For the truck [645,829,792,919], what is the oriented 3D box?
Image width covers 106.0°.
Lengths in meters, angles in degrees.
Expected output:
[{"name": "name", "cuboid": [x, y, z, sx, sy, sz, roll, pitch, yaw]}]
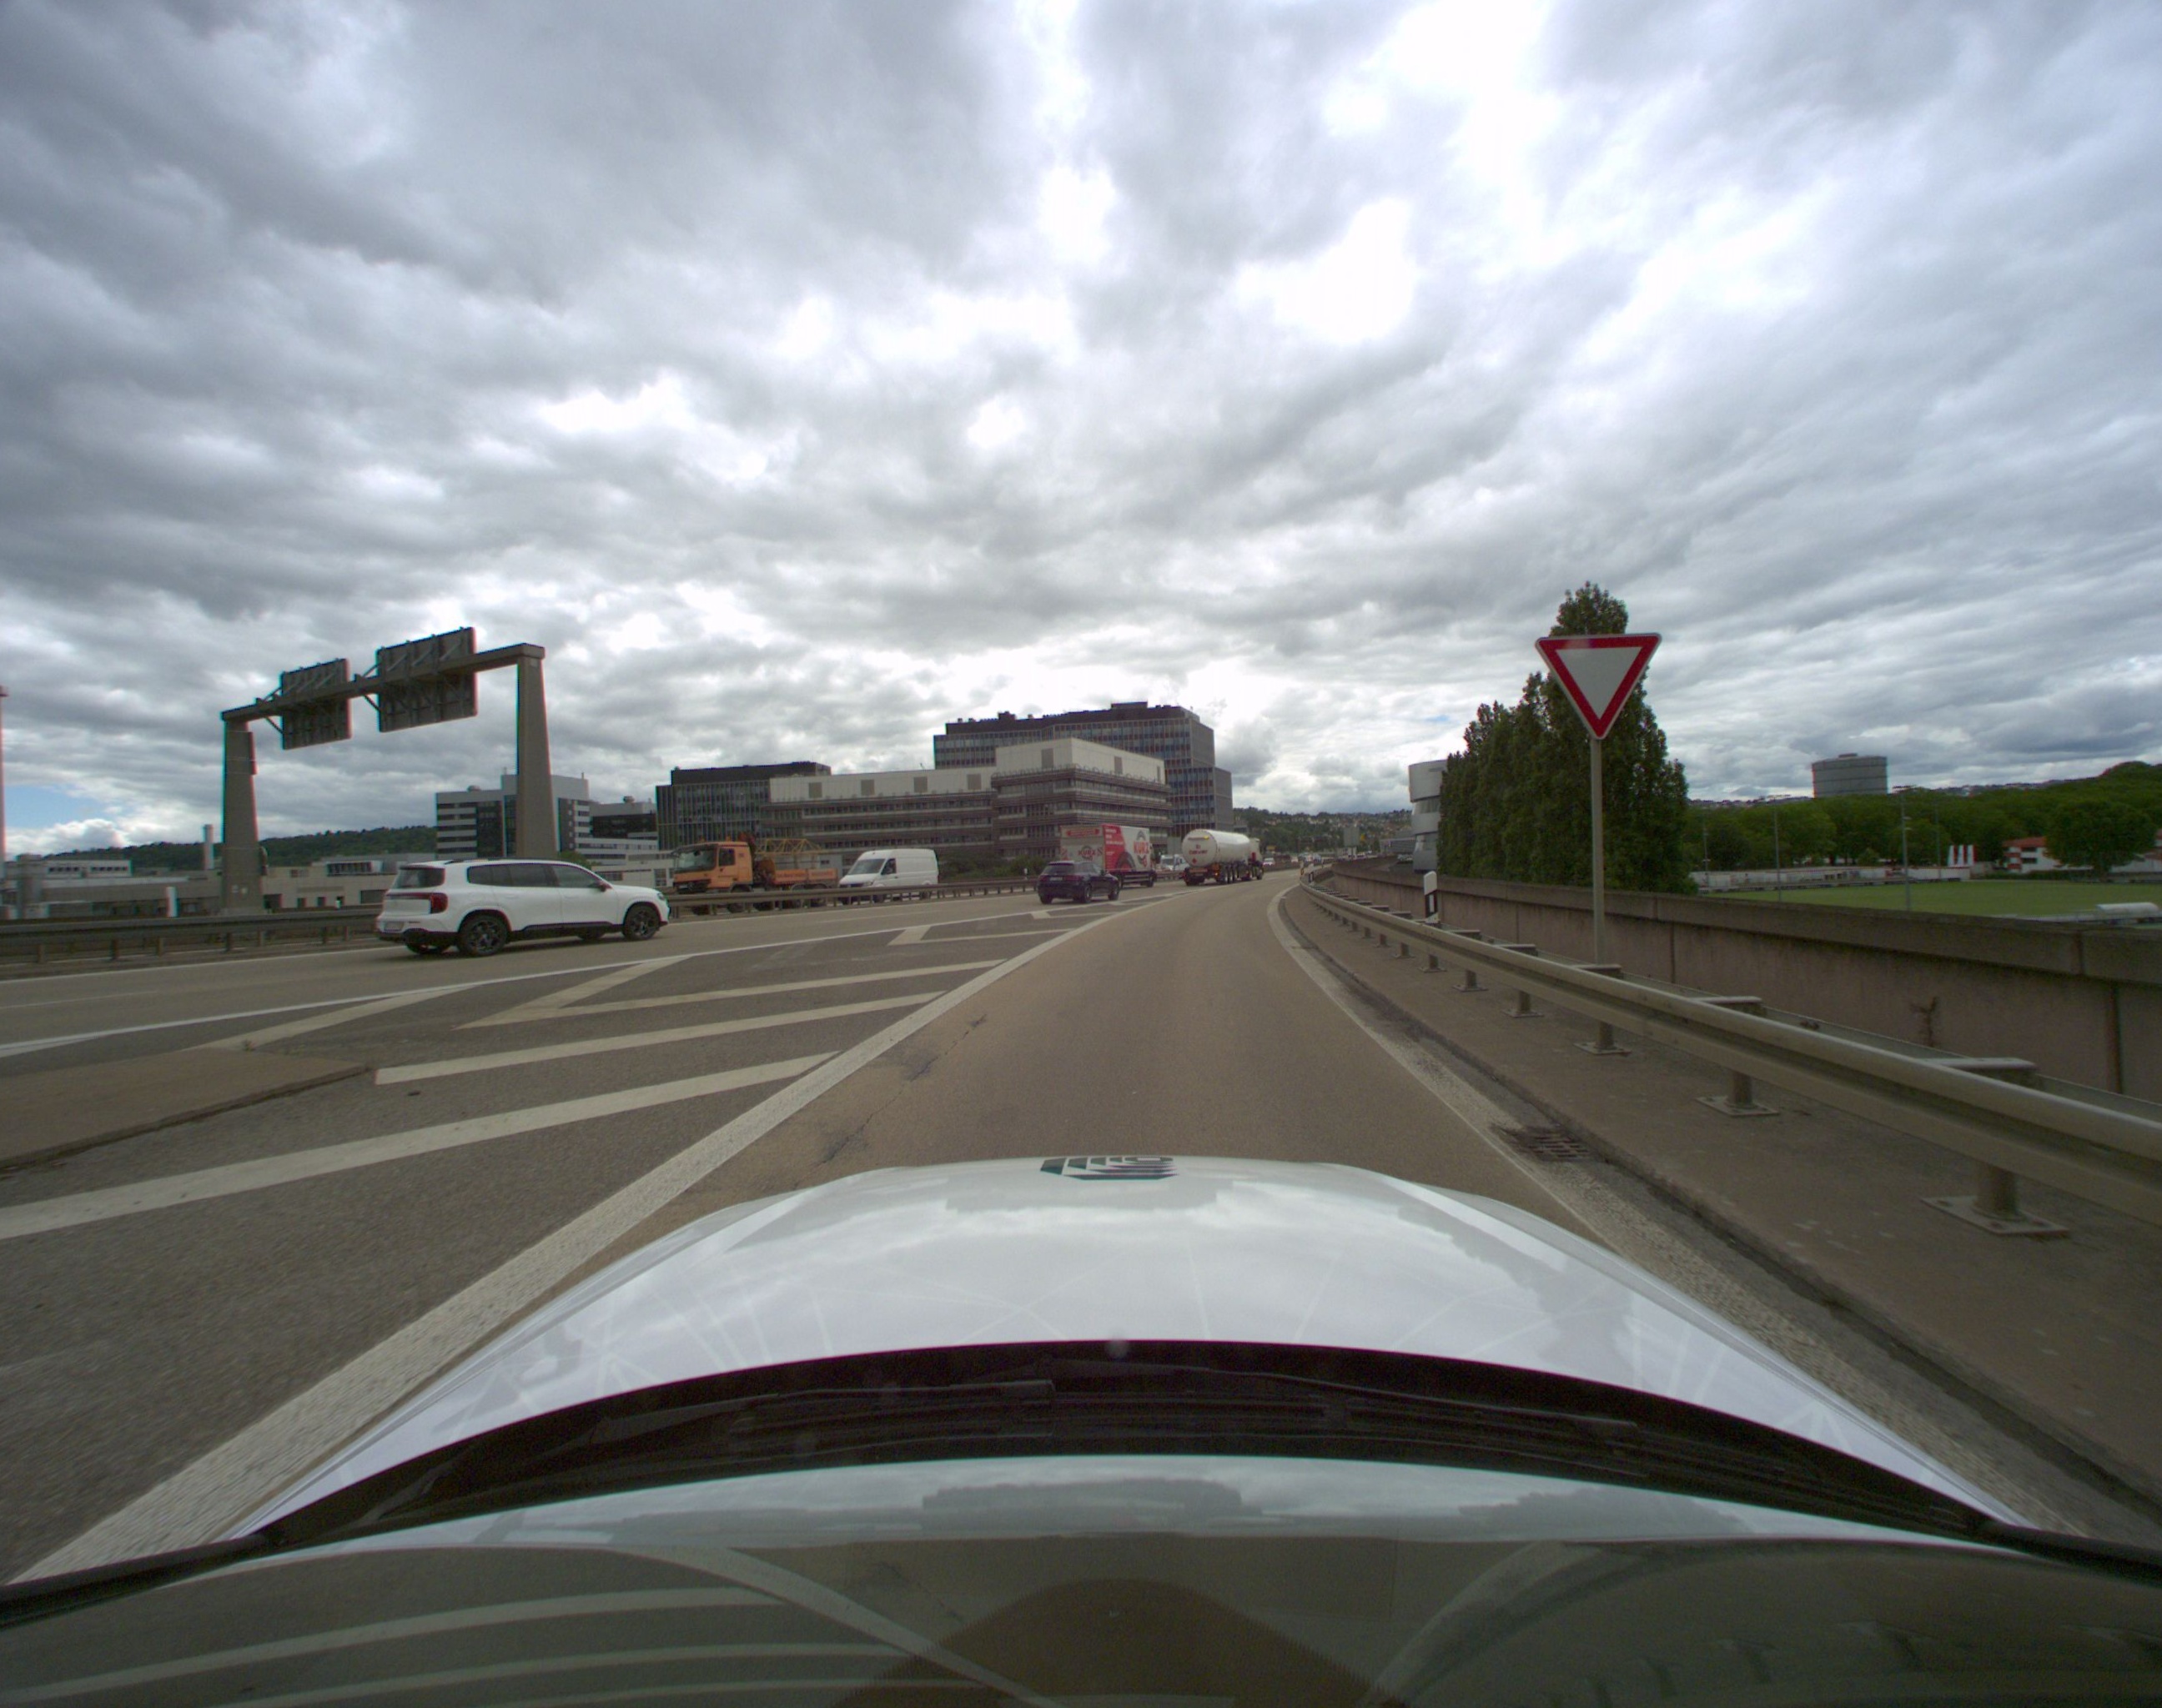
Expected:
[{"name": "truck", "cuboid": [-15.364, 0.806, 34.883, 2.718, 3.480, 5.133, -3, -1, 22]}]

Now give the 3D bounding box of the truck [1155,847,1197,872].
[{"name": "truck", "cuboid": [11.119, 0.609, 94.794, 2.468, 2.626, 7.391, -3, -1, 25]}]

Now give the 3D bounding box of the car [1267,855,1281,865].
[{"name": "car", "cuboid": [35.861, 1.074, 151.116, 1.851, 1.712, 4.626, -3, -1, 22]}]

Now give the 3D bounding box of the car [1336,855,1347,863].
[{"name": "car", "cuboid": [55.557, 1.041, 173.489, 1.977, 1.538, 4.019, -1, -2, 20]}]

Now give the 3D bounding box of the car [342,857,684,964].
[{"name": "car", "cuboid": [-10.352, 0.931, 15.371, 1.975, 1.668, 4.920, -3, -1, 26]}]

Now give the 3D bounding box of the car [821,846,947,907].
[{"name": "car", "cuboid": [-9.248, 0.997, 38.928, 2.555, 2.644, 6.225, -2, -1, 24]}]

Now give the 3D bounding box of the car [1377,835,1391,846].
[{"name": "car", "cuboid": [49.788, -2.241, 133.750, 1.679, 1.551, 3.663, -3, -2, 25]}]

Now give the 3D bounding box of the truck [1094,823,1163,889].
[{"name": "truck", "cuboid": [2.968, 0.111, 49.549, 2.667, 3.690, 4.463, -3, -1, 23]}]

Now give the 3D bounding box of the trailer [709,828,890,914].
[{"name": "trailer", "cuboid": [-13.349, 0.746, 39.864, 2.710, 3.636, 9.406, -3, -1, 22]}]

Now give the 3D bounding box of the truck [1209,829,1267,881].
[{"name": "truck", "cuboid": [11.487, 0.076, 59.190, 2.744, 3.430, 5.998, -3, -1, 23]}]

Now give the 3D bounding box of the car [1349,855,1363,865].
[{"name": "car", "cuboid": [50.321, 1.101, 149.080, 1.976, 1.538, 4.022, 3, 0, 25]}]

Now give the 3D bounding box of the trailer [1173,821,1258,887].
[{"name": "trailer", "cuboid": [9.064, -0.018, 53.482, 2.767, 3.737, 11.216, -3, -1, 23]}]

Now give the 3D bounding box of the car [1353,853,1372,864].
[{"name": "car", "cuboid": [43.553, 0.749, 126.042, 1.975, 1.538, 4.024, 5, 1, 31]}]

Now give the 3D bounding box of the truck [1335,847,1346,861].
[{"name": "truck", "cuboid": [75.849, 0.012, 237.765, 2.373, 3.893, 5.976, -3, -1, 23]}]

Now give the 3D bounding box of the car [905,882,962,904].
[{"name": "car", "cuboid": [-10.169, 2.715, 56.568, 1.627, 1.235, 4.306, -3, -1, 25]}]

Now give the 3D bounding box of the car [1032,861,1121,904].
[{"name": "car", "cuboid": [-0.087, 1.052, 31.498, 1.830, 1.505, 4.289, -1, -1, 23]}]

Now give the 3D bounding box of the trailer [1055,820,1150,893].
[{"name": "trailer", "cuboid": [1.395, 0.124, 45.804, 2.667, 3.690, 7.353, -3, -1, 23]}]
